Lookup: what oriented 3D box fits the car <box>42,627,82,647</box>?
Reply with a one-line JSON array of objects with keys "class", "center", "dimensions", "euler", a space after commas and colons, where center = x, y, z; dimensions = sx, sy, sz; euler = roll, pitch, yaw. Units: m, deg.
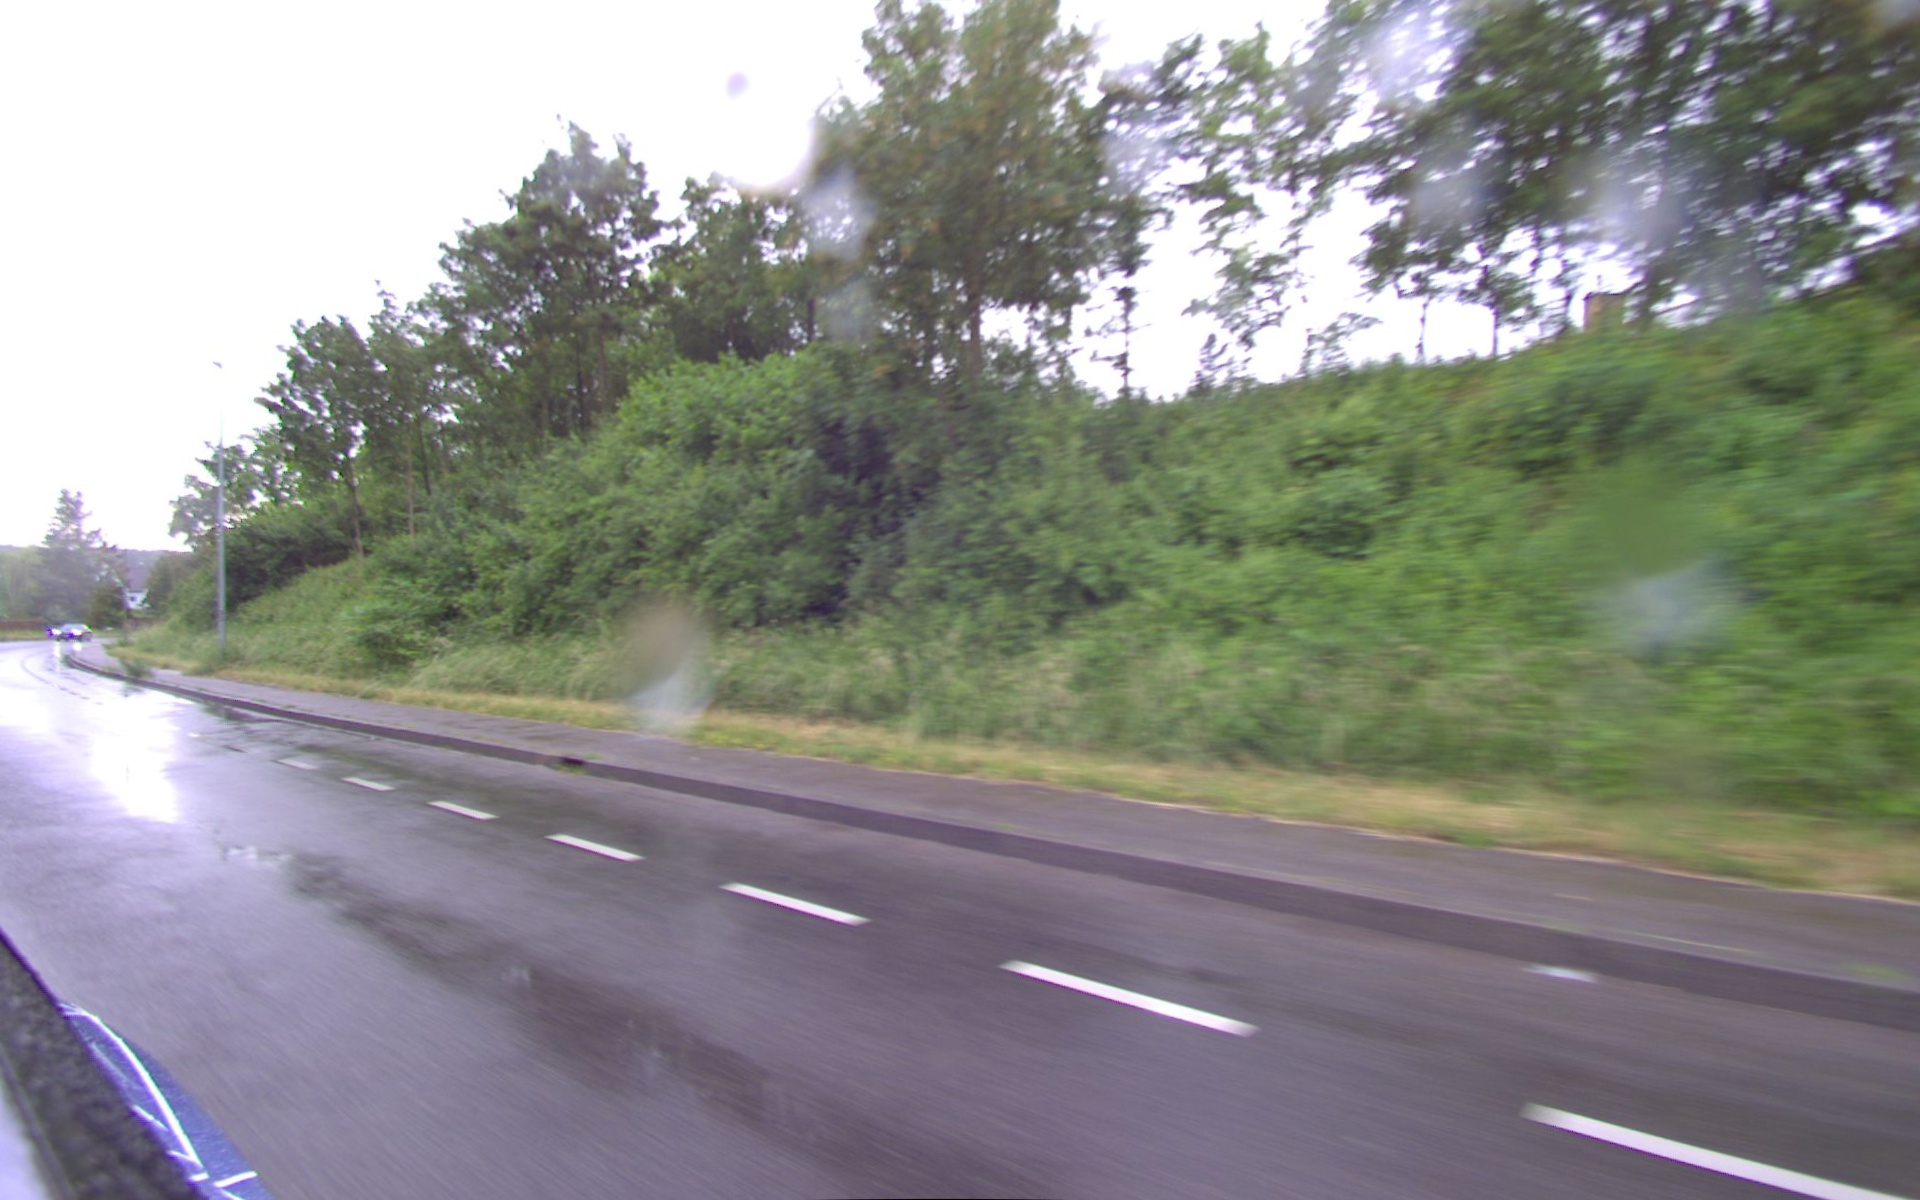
[{"class": "car", "center": [-77.147, 3.206, 87.016], "dimensions": [1.849, 1.618, 4.011], "euler": [3, -3, -31]}]
